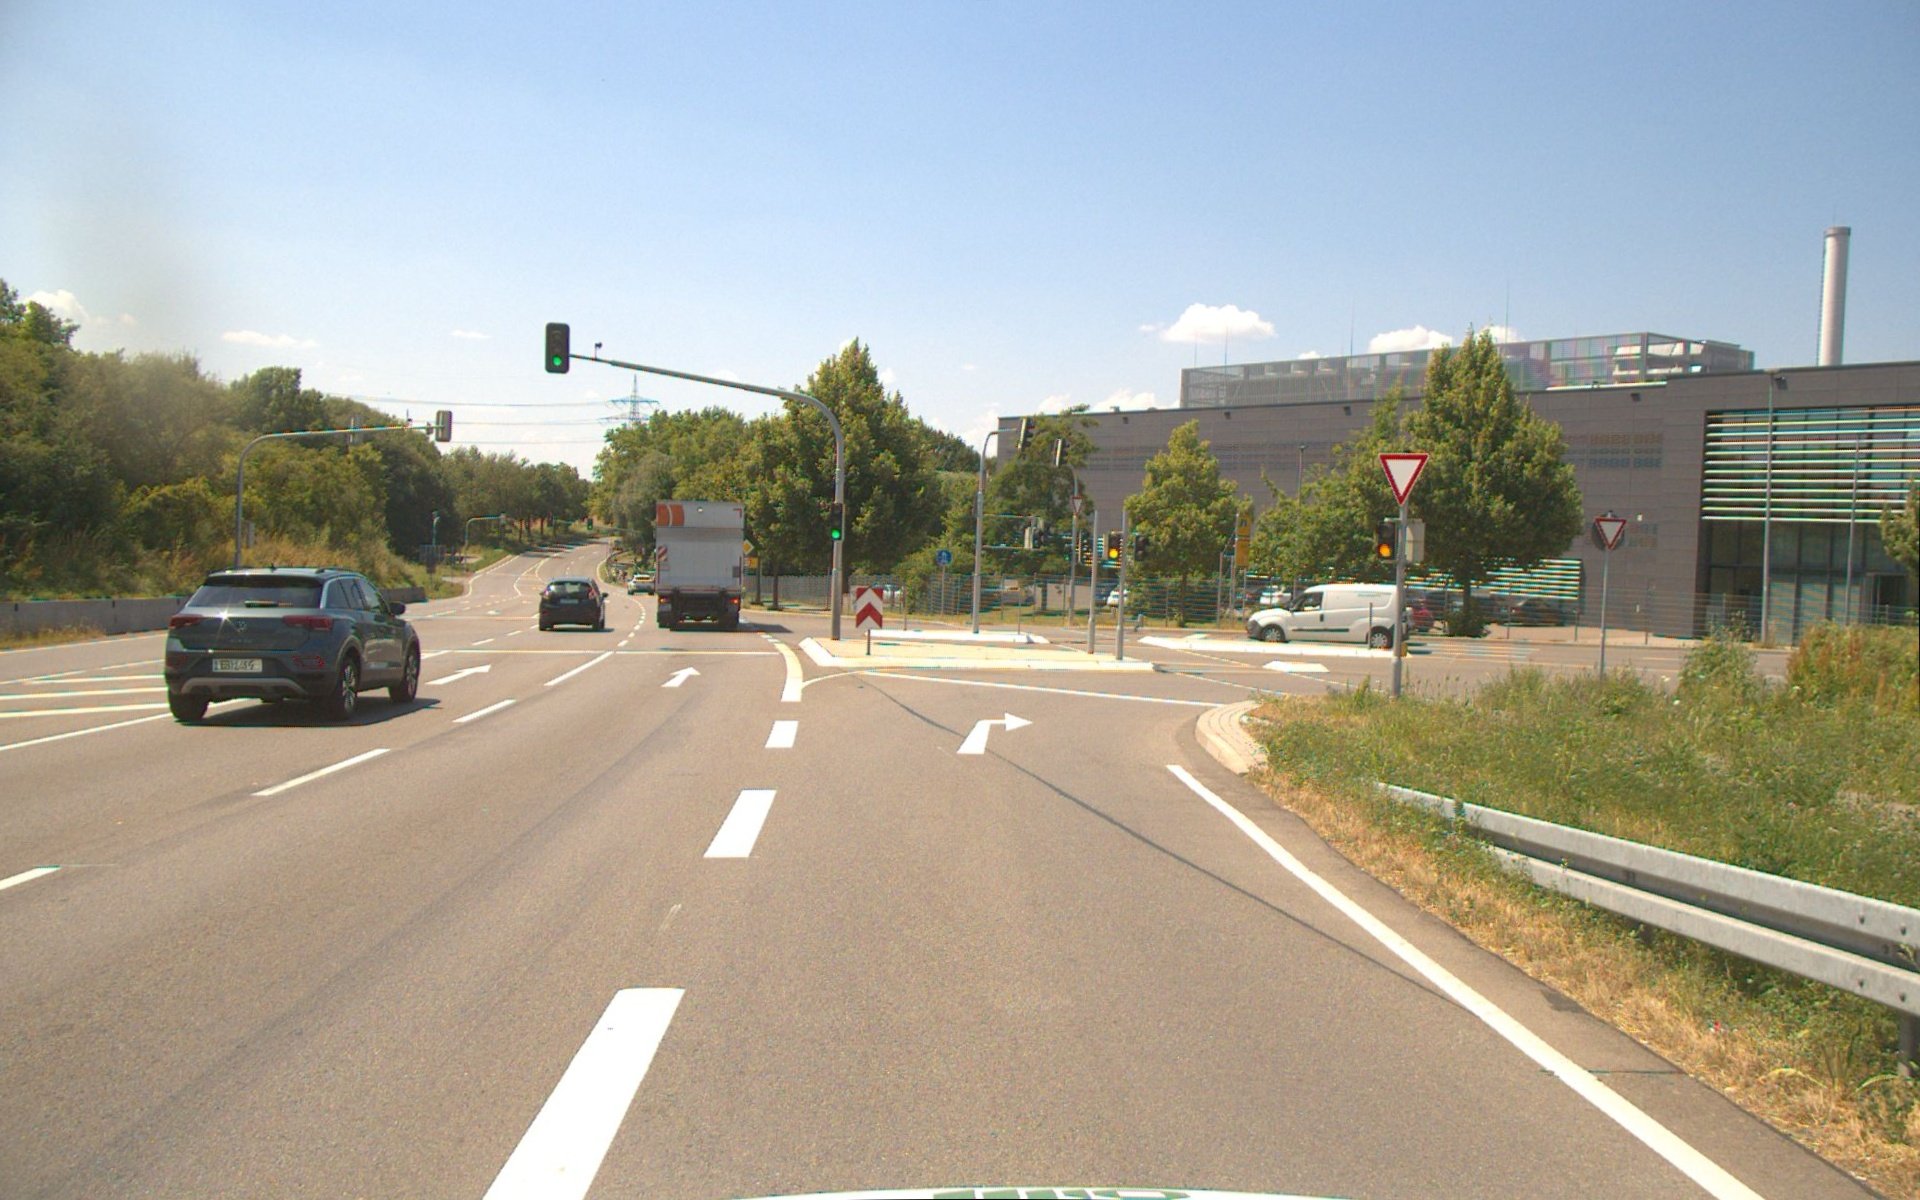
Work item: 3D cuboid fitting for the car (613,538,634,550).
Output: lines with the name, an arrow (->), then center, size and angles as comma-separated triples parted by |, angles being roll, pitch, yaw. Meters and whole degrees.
car -> -51.087, -8.459, 251.116 | 1.951, 1.713, 4.002 | 1, 0, 4

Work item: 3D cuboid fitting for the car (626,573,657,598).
car -> -24.200, -1.093, 125.582 | 1.912, 1.693, 3.985 | 4, 1, -15

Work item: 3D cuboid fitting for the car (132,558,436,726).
car -> -7.231, 0.384, 18.200 | 1.798, 1.614, 4.388 | 1, 1, -4

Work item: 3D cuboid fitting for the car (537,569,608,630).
car -> -10.979, -0.047, 47.059 | 1.622, 1.519, 4.199 | 1, 2, -9

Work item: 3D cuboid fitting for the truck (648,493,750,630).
truck -> -8.100, -1.199, 51.177 | 2.752, 3.775, 9.089 | 1, 1, -9

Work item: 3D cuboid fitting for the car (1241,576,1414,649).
car -> 10.734, 0.325, 48.270 | 4.647, 1.966, 2.154 | 1, 0, 21
